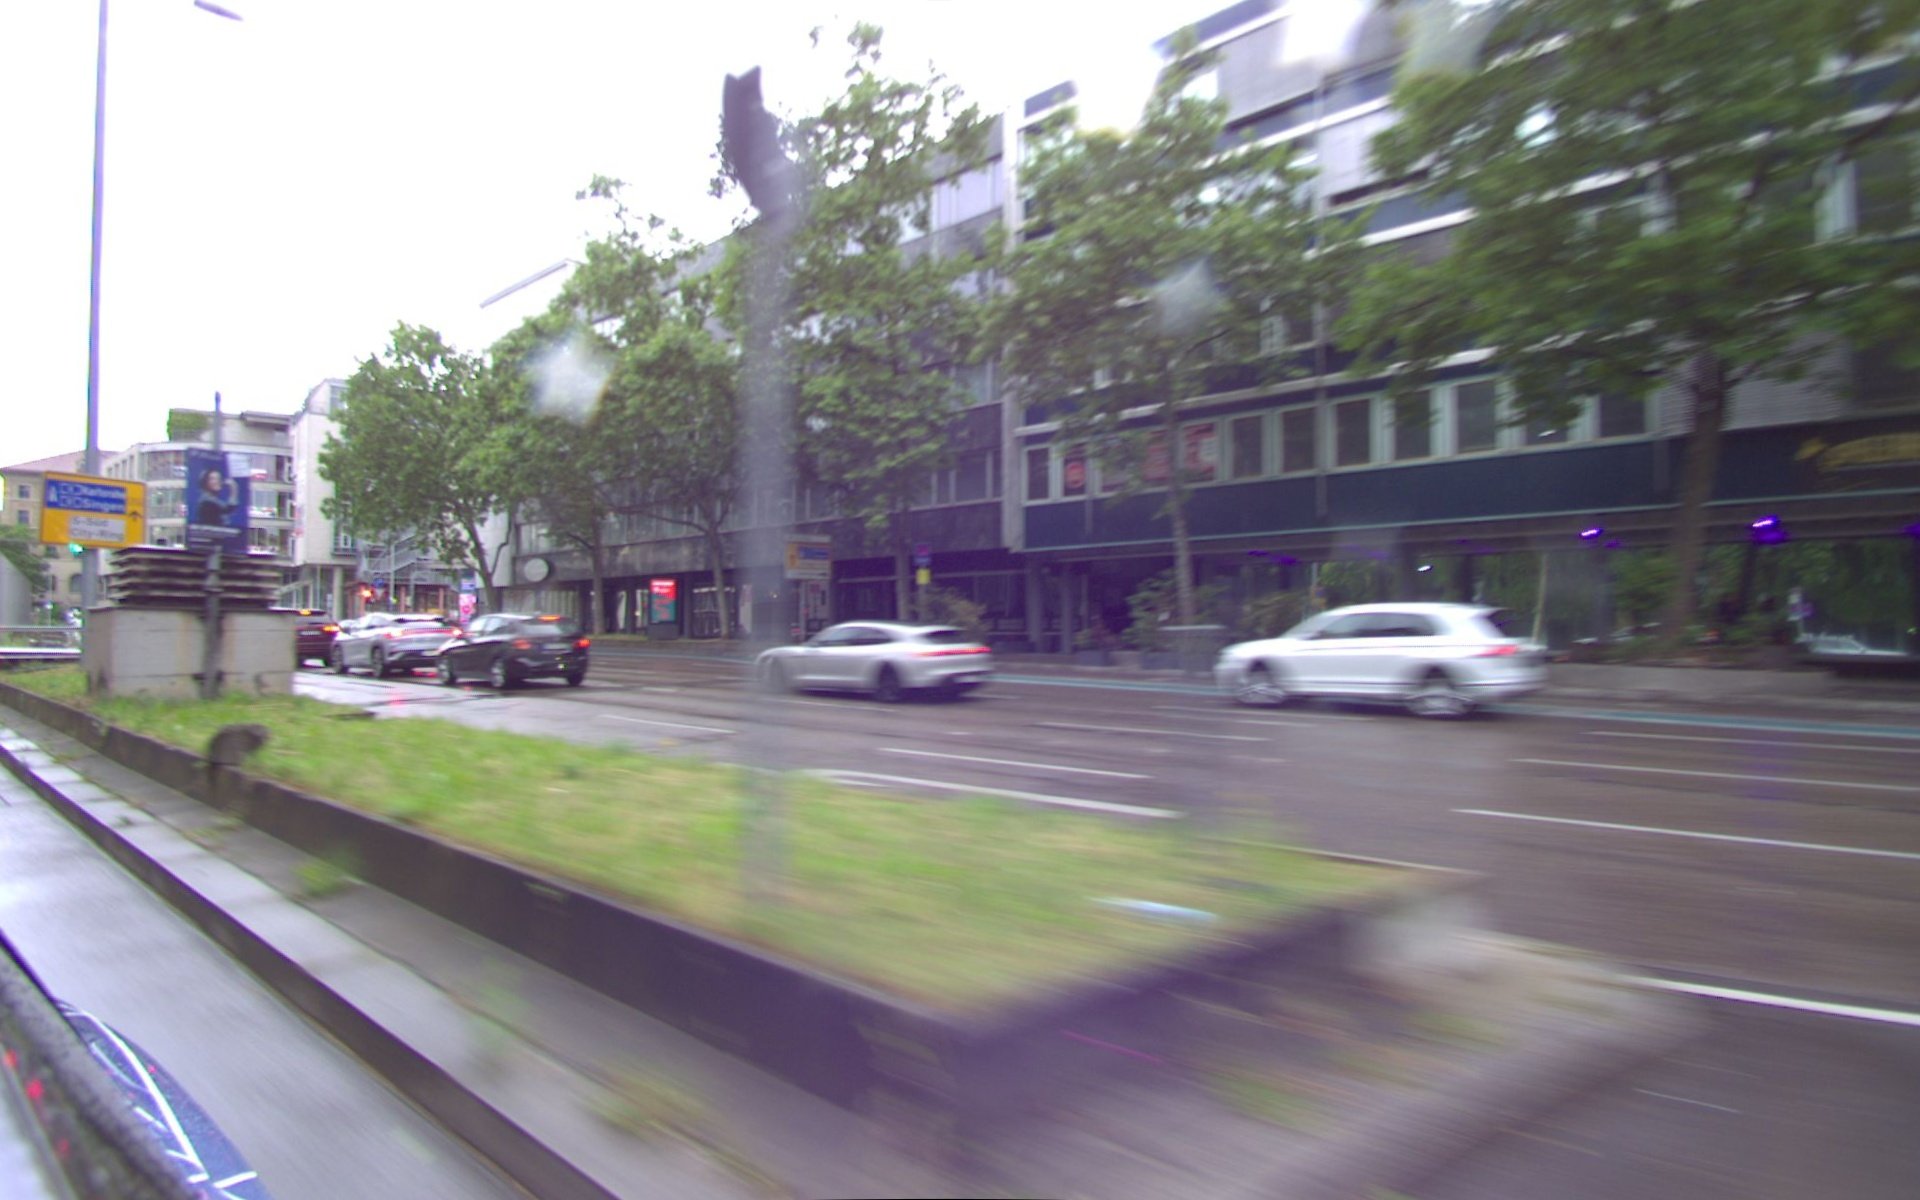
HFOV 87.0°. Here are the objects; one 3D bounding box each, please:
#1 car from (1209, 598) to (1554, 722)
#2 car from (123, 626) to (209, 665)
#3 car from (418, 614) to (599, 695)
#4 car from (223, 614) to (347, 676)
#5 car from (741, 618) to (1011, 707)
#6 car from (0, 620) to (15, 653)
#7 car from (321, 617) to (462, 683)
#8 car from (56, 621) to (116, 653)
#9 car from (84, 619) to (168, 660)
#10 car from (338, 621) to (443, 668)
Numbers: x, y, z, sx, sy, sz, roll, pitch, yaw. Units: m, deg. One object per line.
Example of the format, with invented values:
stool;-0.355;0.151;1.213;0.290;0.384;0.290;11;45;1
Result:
car;6.306;0.843;15.501;4.546;1.627;1.742;-2;-1;42
car;-32.050;1.804;40.806;4.914;1.462;1.824;-2;-2;41
car;-9.797;1.114;21.800;4.540;1.564;1.893;-2;-2;42
car;-21.145;1.368;31.617;5.104;1.780;1.817;-2;-2;39
car;-1.648;1.068;18.523;4.950;1.420;1.948;-2;-2;38
car;-45.670;1.705;47.241;4.162;1.493;1.824;-2;-2;41
car;-14.847;1.256;26.309;4.830;1.585;1.716;-2;-2;42
car;-42.263;1.769;48.928;3.429;1.487;1.699;-2;-2;41
car;-37.116;1.740;44.994;4.791;1.698;1.859;-2;-2;38
car;-19.589;1.486;34.731;4.567;1.502;1.701;-2;-2;41
